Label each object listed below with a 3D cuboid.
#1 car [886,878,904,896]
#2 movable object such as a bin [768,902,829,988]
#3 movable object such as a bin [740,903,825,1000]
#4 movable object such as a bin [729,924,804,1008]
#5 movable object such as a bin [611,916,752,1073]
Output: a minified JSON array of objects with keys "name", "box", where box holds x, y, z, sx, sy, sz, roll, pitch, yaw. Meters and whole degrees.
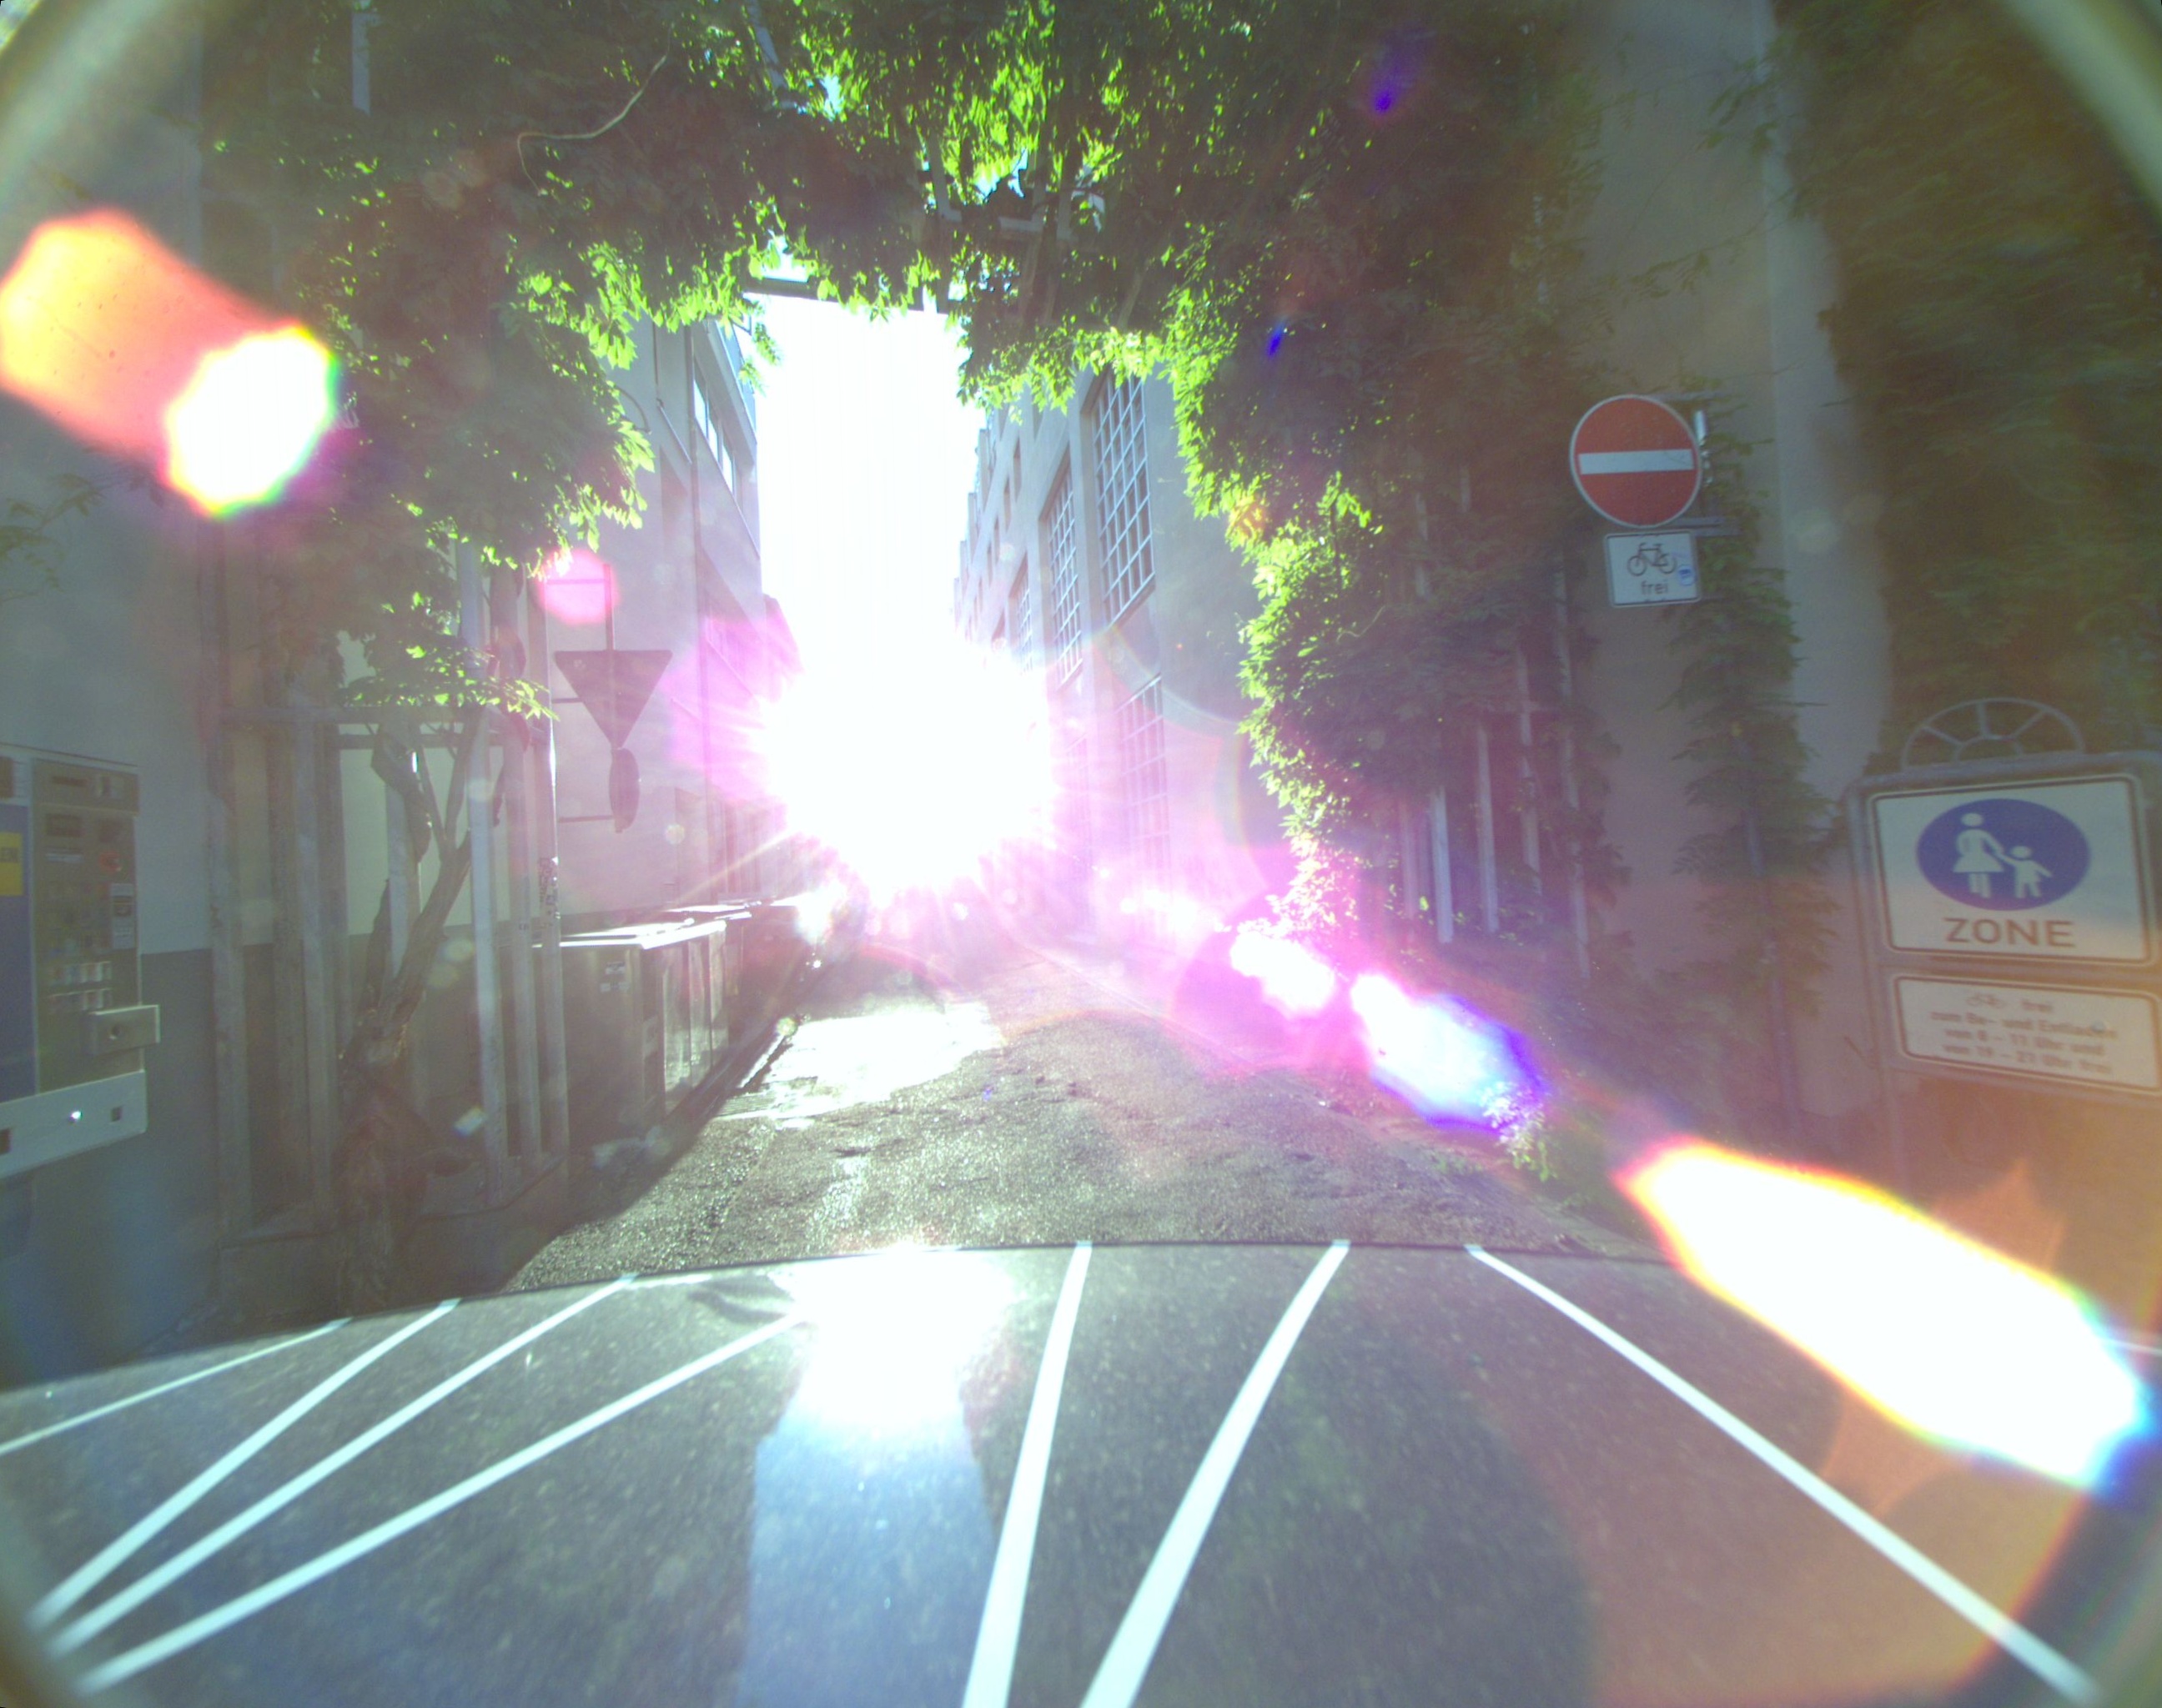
[{"name":"car","box":[-20.446,3.565,83.583,1.766,1.756,4.746,-5,-1,-13]},{"name":"movable object such as a bin","box":[-4.946,1.555,13.370,0.941,1.358,1.340,-1,-1,-19]},{"name":"movable object such as a bin","box":[-4.669,1.488,11.994,1.068,1.358,1.341,-1,-1,-15]},{"name":"movable object such as a bin","box":[-4.440,1.564,10.787,0.872,1.068,0.737,-1,-1,-14]},{"name":"movable object such as a bin","box":[-3.836,1.301,7.422,0.838,1.297,1.289,-1,-1,-9]}]
